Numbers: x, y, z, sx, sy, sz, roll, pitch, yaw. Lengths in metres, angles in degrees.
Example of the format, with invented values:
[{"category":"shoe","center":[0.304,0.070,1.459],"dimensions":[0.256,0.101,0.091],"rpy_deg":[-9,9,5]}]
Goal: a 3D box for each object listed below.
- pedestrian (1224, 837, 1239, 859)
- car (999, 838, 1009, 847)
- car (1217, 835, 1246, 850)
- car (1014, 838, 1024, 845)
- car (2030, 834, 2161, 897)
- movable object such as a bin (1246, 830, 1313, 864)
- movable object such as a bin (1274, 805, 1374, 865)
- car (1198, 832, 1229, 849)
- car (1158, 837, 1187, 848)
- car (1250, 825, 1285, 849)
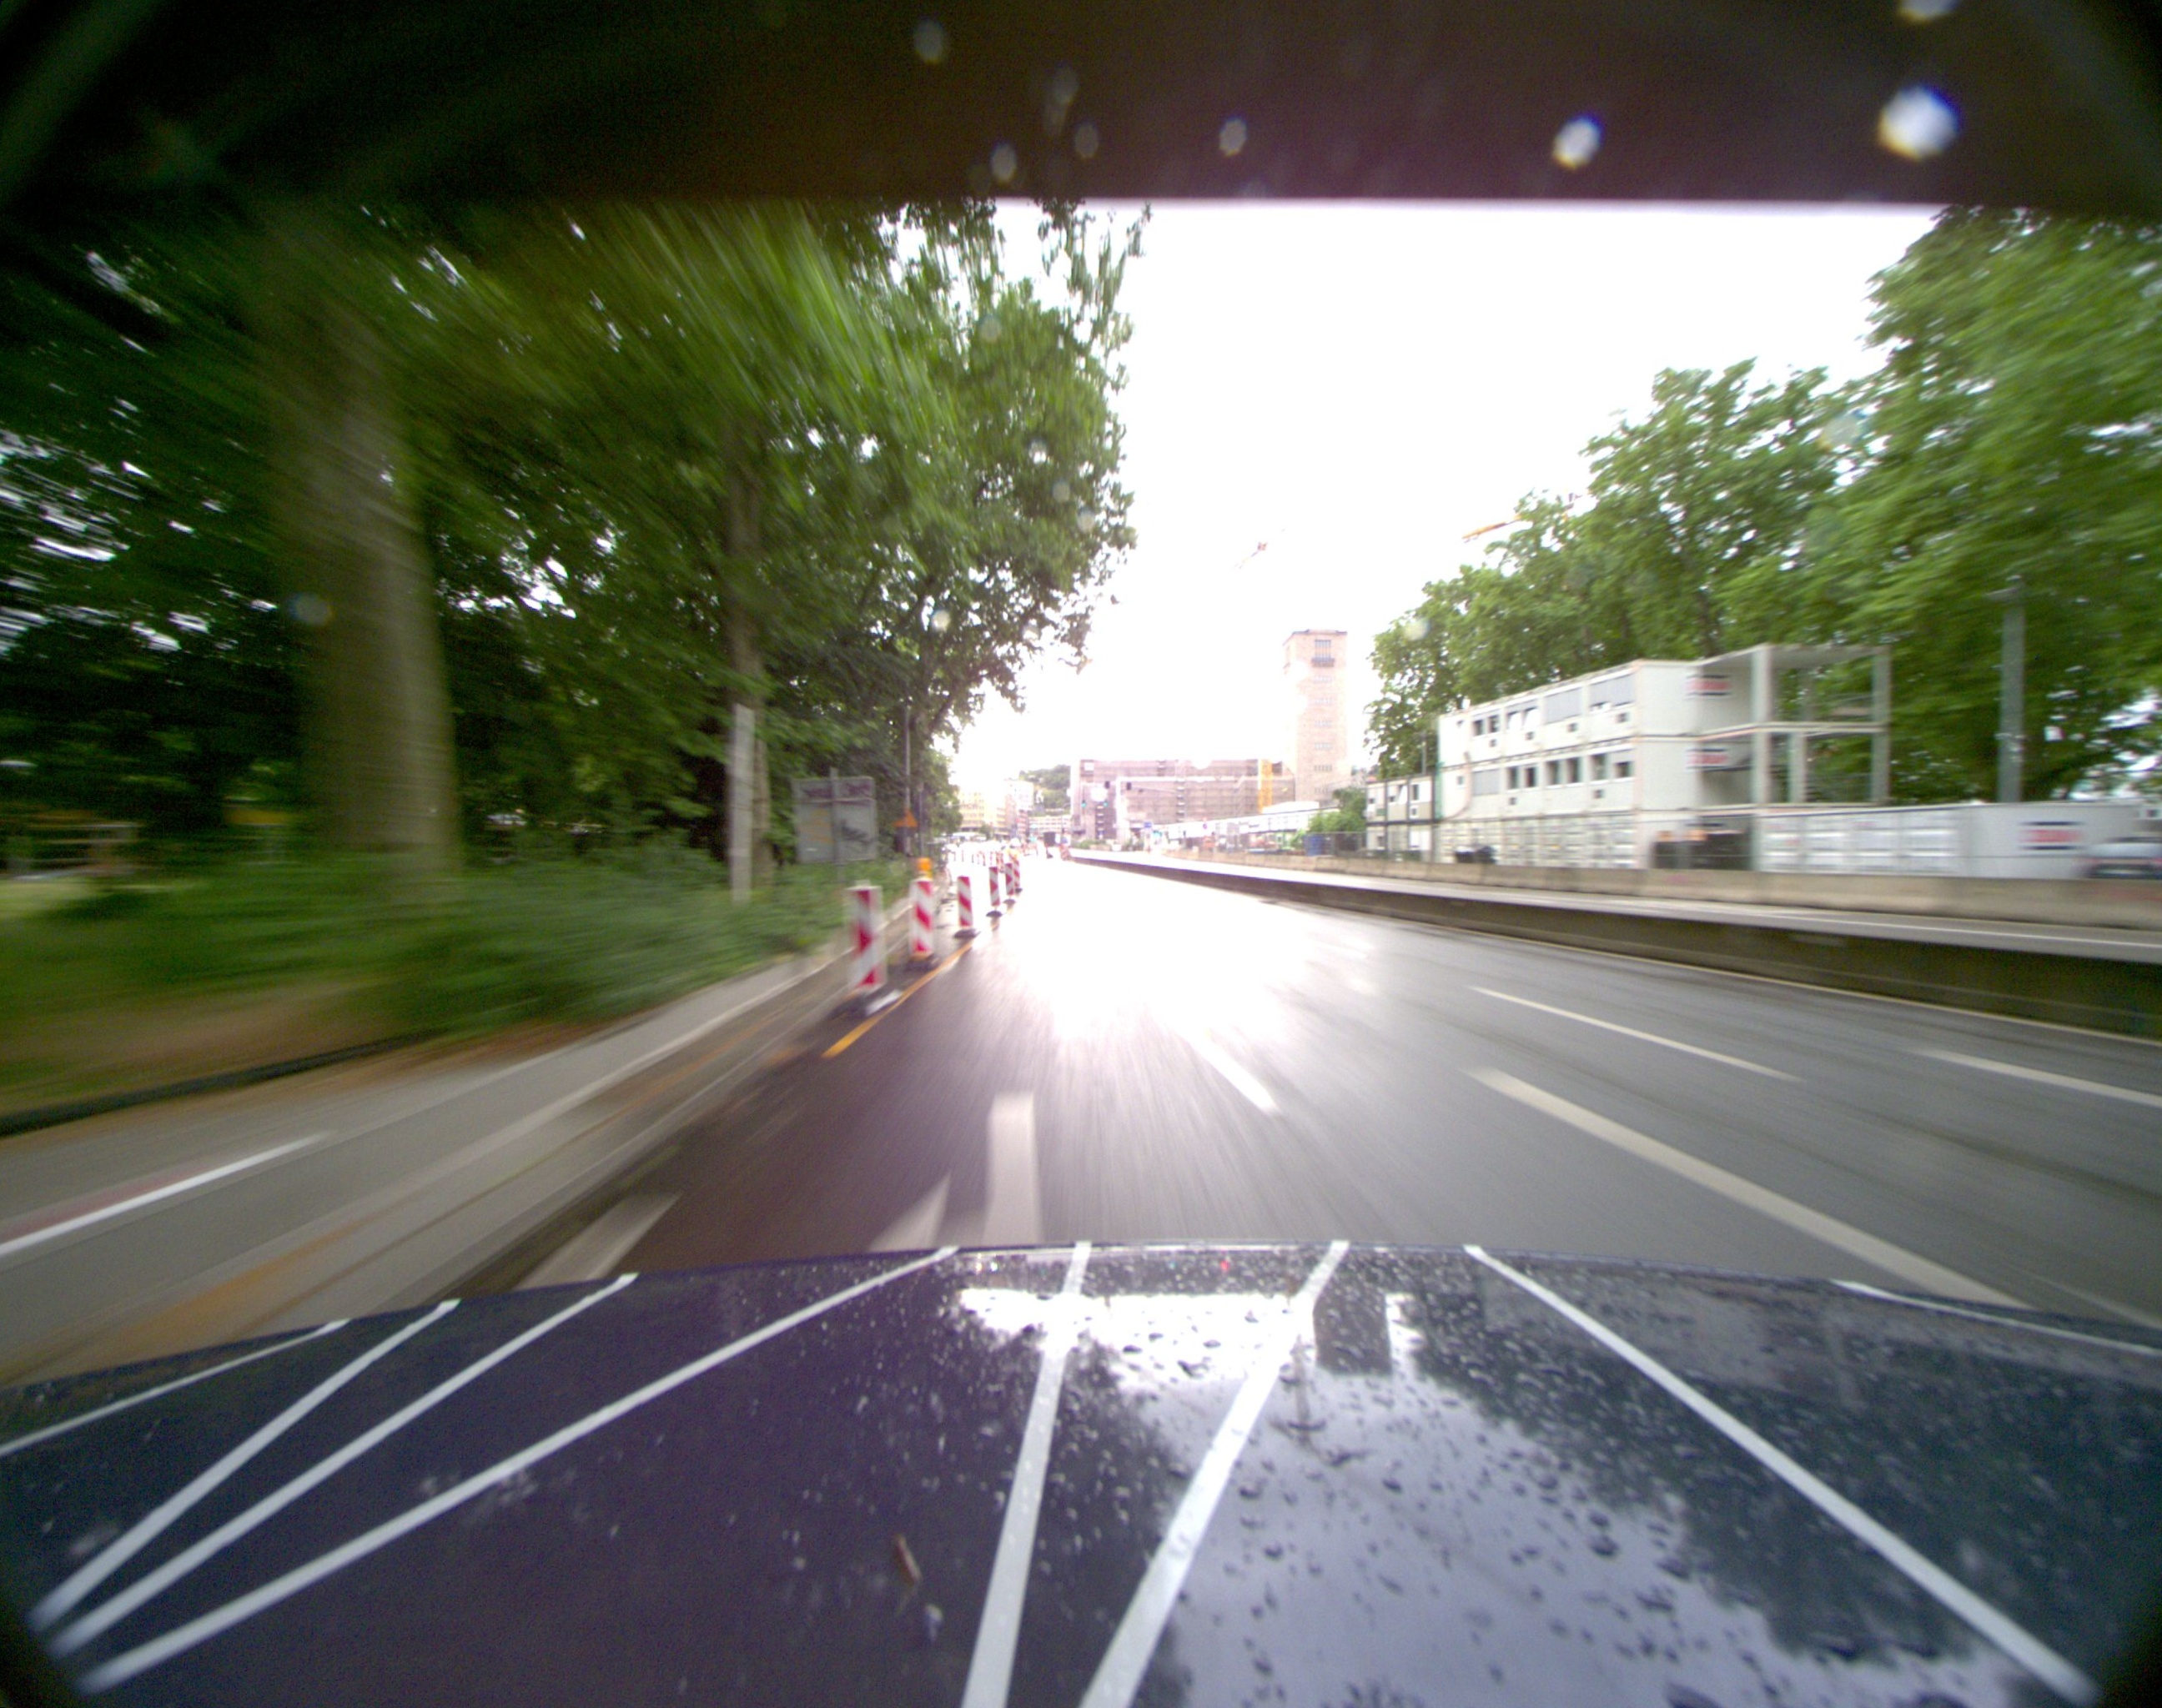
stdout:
[{"category":"pedestrian","center":[14.492,-0.587,73.323],"dimensions":[1.183,2.002,1.173],"rpy_deg":[-1,2,0]},{"category":"car","center":[-16.611,-2.539,163.625],"dimensions":[2.000,1.804,4.288],"rpy_deg":[0,2,-8]},{"category":"car","center":[18.494,-1.475,93.621],"dimensions":[1.851,1.751,4.792],"rpy_deg":[0,2,-10]},{"category":"car","center":[-13.258,-2.714,163.533],"dimensions":[1.833,1.643,4.569],"rpy_deg":[0,1,-9]},{"category":"car","center":[26.215,0.249,18.561],"dimensions":[4.000,1.435,1.998],"rpy_deg":[0,2,-8]},{"category":"movable object such as a bin","center":[18.993,-0.714,73.222],"dimensions":[3.945,3.111,6.381],"rpy_deg":[0,2,-9]},{"category":"movable object such as a bin","center":[20.317,-1.591,64.273],"dimensions":[4.766,4.776,8.350],"rpy_deg":[0,2,-9]},{"category":"car","center":[17.311,-1.796,99.422],"dimensions":[2.001,2.089,5.574],"rpy_deg":[1,1,-13]},{"category":"car","center":[16.870,-2.038,140.348],"dimensions":[5.011,2.002,2.004],"rpy_deg":[1,1,45]},{"category":"car","center":[25.376,-2.324,103.549],"dimensions":[2.281,3.049,6.161],"rpy_deg":[0,2,-11]}]
